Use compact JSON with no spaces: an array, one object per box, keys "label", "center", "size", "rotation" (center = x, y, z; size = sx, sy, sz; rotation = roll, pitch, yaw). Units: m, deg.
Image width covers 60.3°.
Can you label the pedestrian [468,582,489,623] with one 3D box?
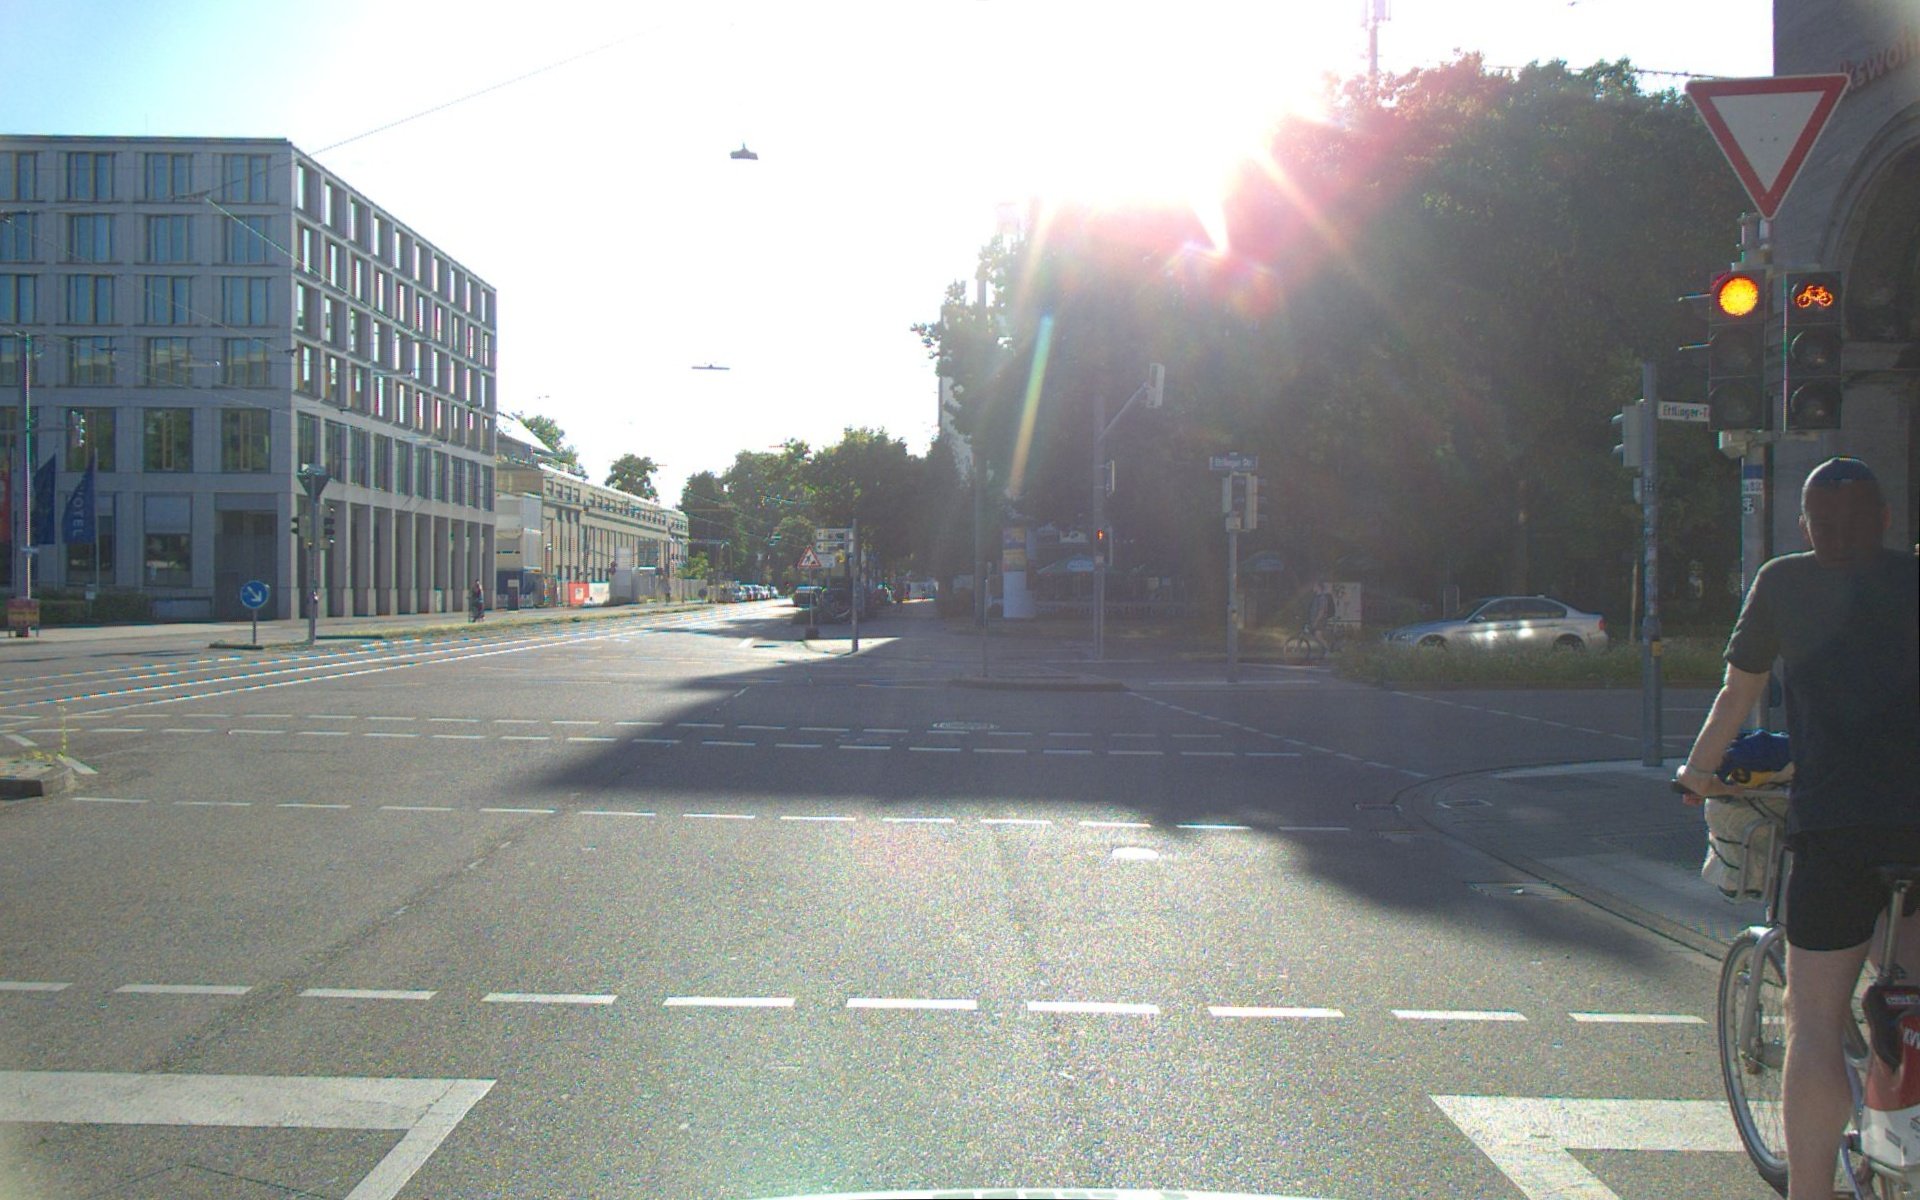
[{"label":"pedestrian","center":[-19.219,0.080,66.031],"size":[0.560,1.623,0.745],"rotation":[0,0,3]}]

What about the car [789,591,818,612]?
[{"label":"car","center":[-12.332,0.127,130.498],"size":[1.953,1.668,3.999],"rotation":[1,0,-1]}]

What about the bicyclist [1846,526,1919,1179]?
[{"label":"bicyclist","center":[2.881,0.683,4.363],"size":[0.572,1.769,0.950],"rotation":[0,0,0]}]

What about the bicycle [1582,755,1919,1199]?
[{"label":"bicycle","center":[2.135,0.988,3.923],"size":[0.610,1.062,1.746],"rotation":[0,0,-2]}]

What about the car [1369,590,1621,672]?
[{"label":"car","center":[10.843,0.616,33.736],"size":[4.483,1.543,2.000],"rotation":[1,0,-1]}]

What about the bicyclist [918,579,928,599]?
[{"label":"bicyclist","center":[-3.888,-1.112,173.381],"size":[0.875,2.049,0.746],"rotation":[1,-1,-12]}]

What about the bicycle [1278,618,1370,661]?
[{"label":"bicycle","center":[8.028,0.864,36.496],"size":[1.902,0.905,0.718],"rotation":[1,0,5]}]

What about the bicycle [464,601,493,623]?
[{"label":"bicycle","center":[-19.216,0.476,66.034],"size":[0.560,0.837,1.719],"rotation":[0,0,3]}]

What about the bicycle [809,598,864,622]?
[{"label":"bicycle","center":[-5.008,0.410,67.134],"size":[2.201,0.956,0.653],"rotation":[0,0,-6]}]

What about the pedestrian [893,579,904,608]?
[{"label":"pedestrian","center":[-3.625,-0.376,97.657],"size":[0.566,1.719,0.584],"rotation":[0,0,-8]}]

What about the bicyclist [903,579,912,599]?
[{"label":"bicyclist","center":[-5.485,-1.143,172.904],"size":[0.875,2.049,0.746],"rotation":[1,-1,-12]}]

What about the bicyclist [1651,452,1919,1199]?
[{"label":"bicyclist","center":[2.139,0.560,3.911],"size":[0.610,1.745,0.912],"rotation":[0,0,-1]}]

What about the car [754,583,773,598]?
[{"label":"car","center":[-23.091,-1.134,194.361],"size":[1.954,1.673,3.997],"rotation":[0,0,-4]}]

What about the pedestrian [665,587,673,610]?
[{"label":"pedestrian","center":[-24.850,-0.138,141.167],"size":[0.576,1.922,0.478],"rotation":[1,-1,-5]}]

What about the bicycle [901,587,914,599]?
[{"label":"bicycle","center":[-5.464,-0.738,172.822],"size":[0.875,1.240,2.785],"rotation":[1,0,-12]}]

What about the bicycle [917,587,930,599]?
[{"label":"bicycle","center":[-3.856,-0.708,173.285],"size":[0.875,1.240,2.785],"rotation":[1,0,-12]}]

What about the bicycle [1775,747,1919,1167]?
[{"label":"bicycle","center":[2.881,1.004,4.398],"size":[0.570,1.062,1.747],"rotation":[0,0,0]}]

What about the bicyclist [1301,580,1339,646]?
[{"label":"bicyclist","center":[7.949,0.289,36.503],"size":[0.731,1.431,0.702],"rotation":[1,0,6]}]
